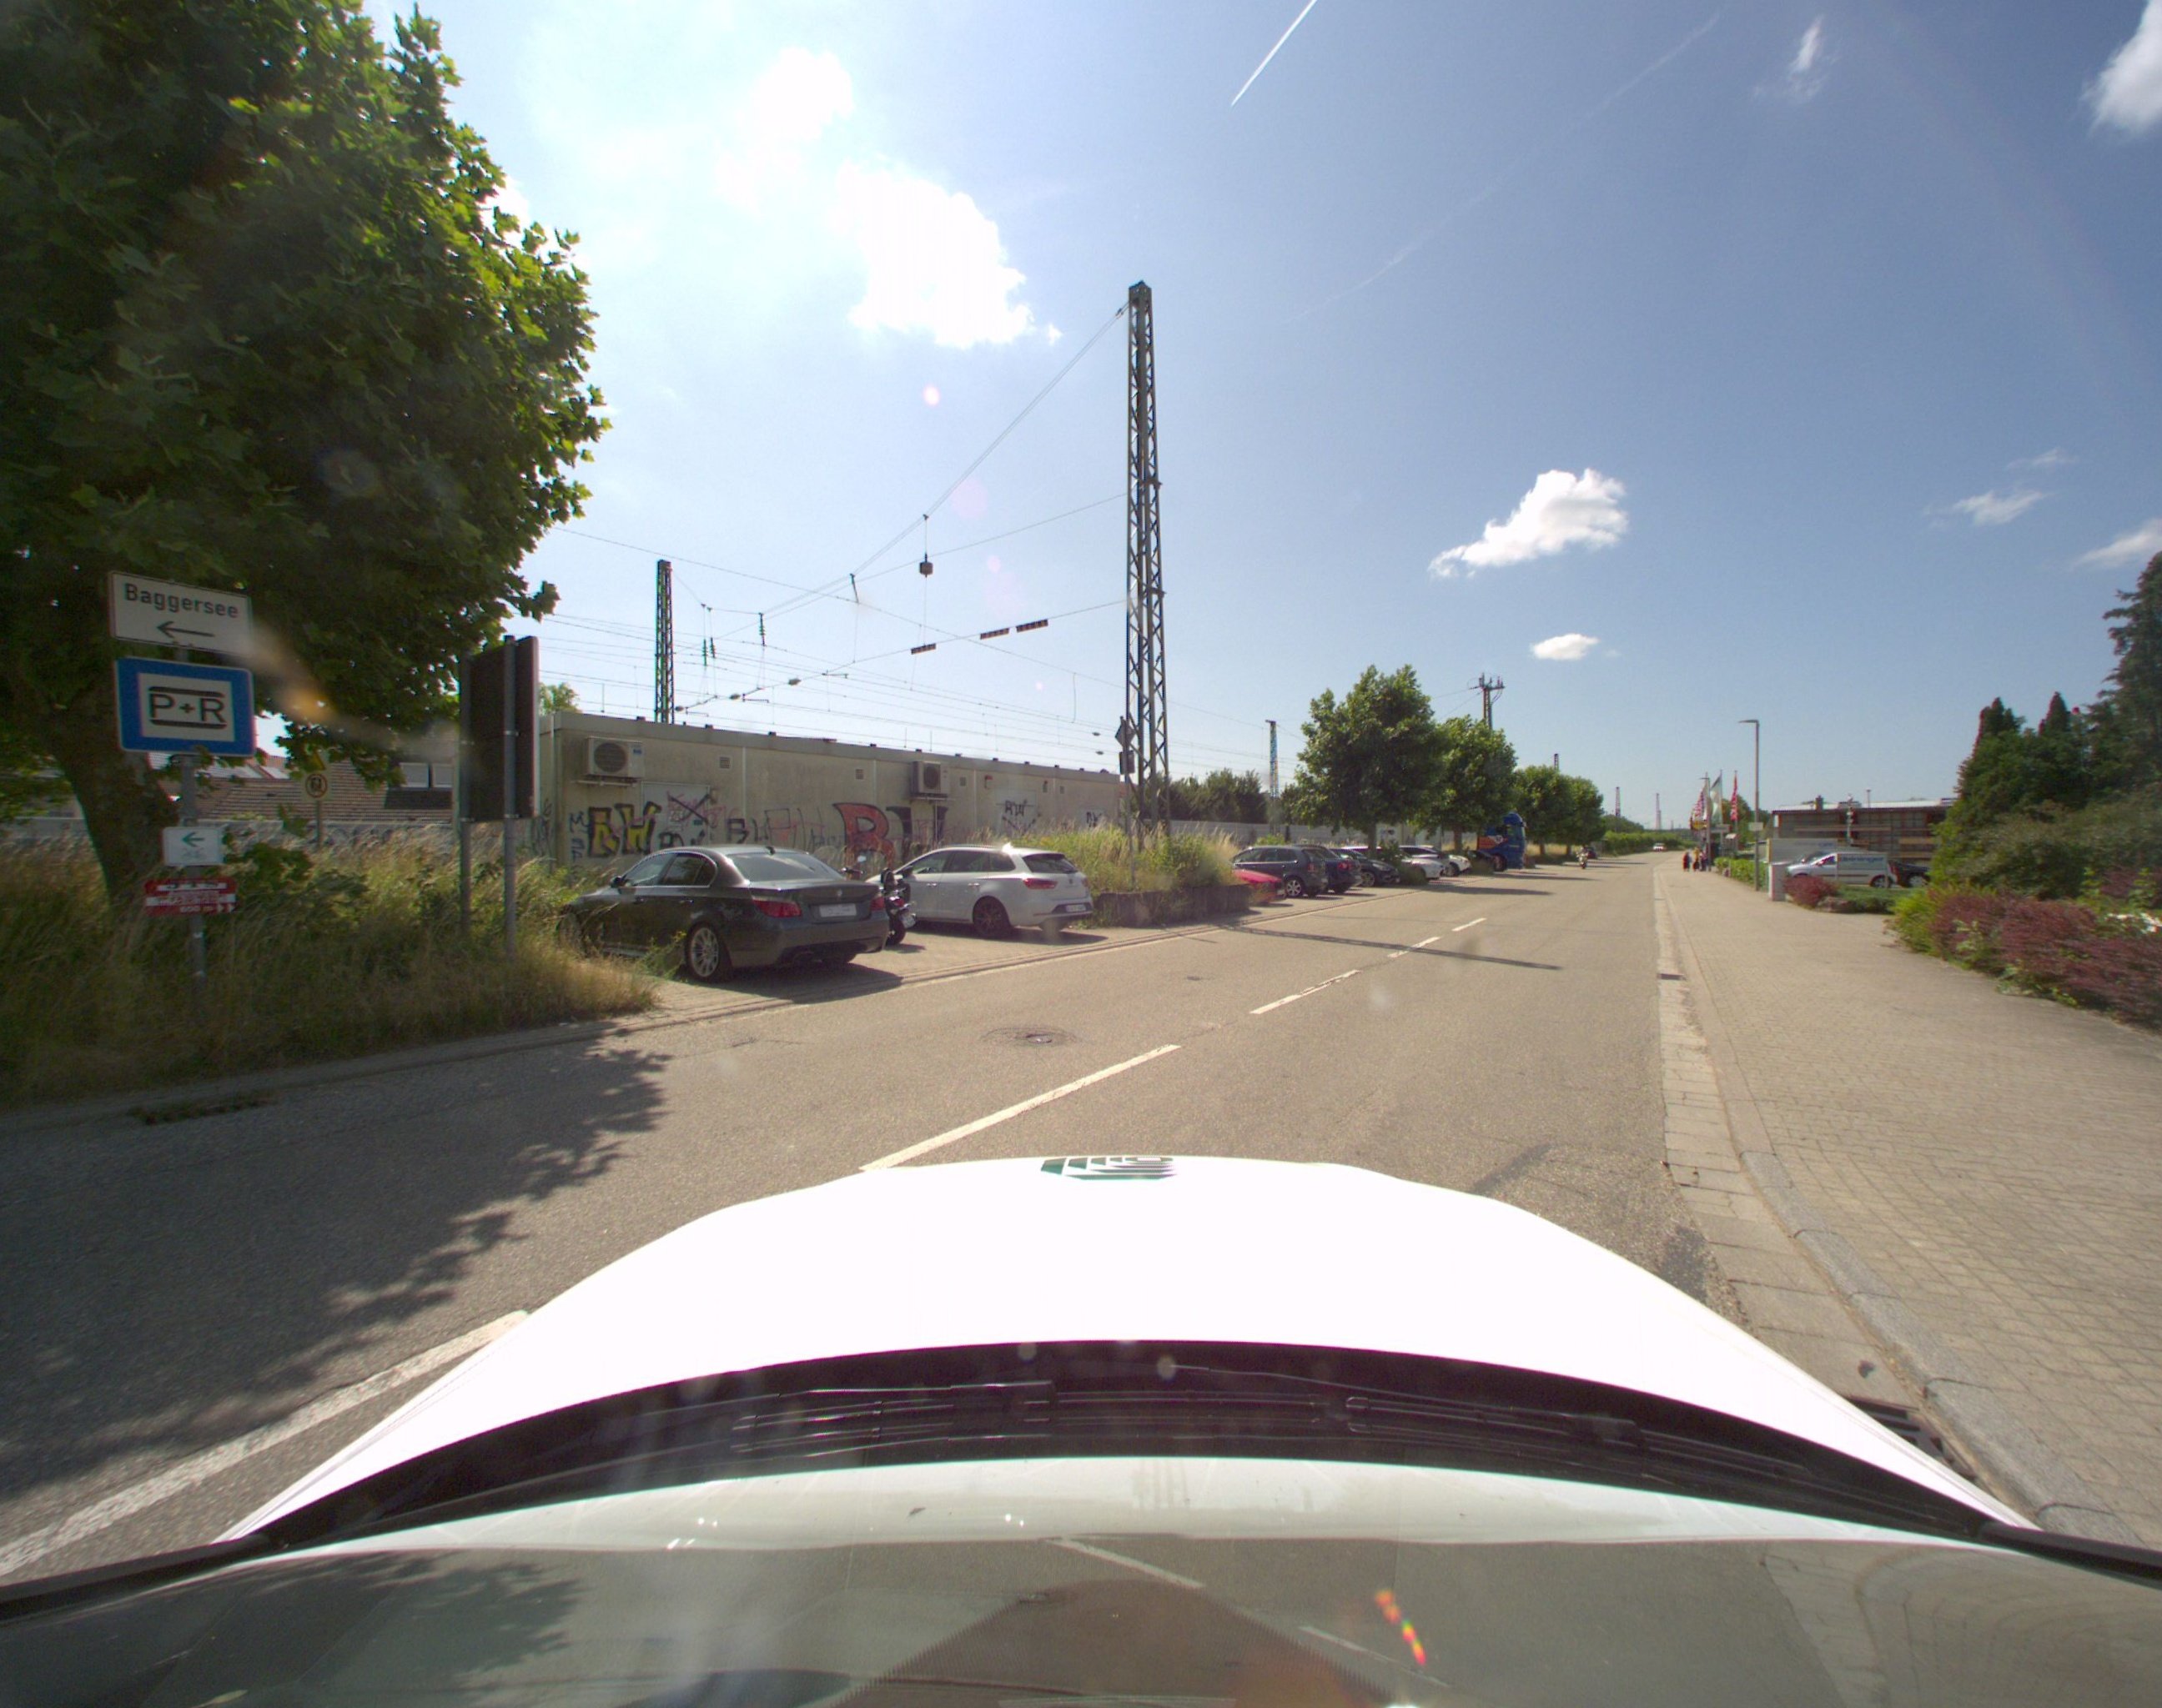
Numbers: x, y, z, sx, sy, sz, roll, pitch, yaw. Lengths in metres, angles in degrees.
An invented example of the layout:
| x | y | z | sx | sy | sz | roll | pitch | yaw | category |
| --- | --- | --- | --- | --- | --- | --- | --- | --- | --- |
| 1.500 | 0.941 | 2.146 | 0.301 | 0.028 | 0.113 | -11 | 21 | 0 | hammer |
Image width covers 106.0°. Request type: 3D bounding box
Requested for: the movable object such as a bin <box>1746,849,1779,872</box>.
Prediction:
| x | y | z | sx | sy | sz | roll | pitch | yaw | category |
| --- | --- | --- | --- | --- | --- | --- | --- | --- | --- |
| 44.833 | 0.397 | 53.578 | 1.260 | 1.458 | 1.048 | 1 | 1 | -2 | movable object such as a bin |

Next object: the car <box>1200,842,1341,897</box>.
| x | y | z | sx | sy | sz | roll | pitch | yaw | category |
| --- | --- | --- | --- | --- | --- | --- | --- | --- | --- |
| 5.554 | 0.393 | 23.976 | 3.630 | 1.447 | 1.695 | 2 | 2 | 34 | car |

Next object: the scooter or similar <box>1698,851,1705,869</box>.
| x | y | z | sx | sy | sz | roll | pitch | yaw | category |
| --- | --- | --- | --- | --- | --- | --- | --- | --- | --- |
| 42.613 | 0.429 | 55.953 | 0.330 | 1.198 | 0.400 | -1 | -2 | 36 | scooter or similar |

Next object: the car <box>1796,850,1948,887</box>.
| x | y | z | sx | sy | sz | roll | pitch | yaw | category |
| --- | --- | --- | --- | --- | --- | --- | --- | --- | --- |
| 33.887 | 0.581 | 35.080 | 4.431 | 1.440 | 1.826 | 1 | 1 | 33 | car |

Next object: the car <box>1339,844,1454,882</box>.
| x | y | z | sx | sy | sz | roll | pitch | yaw | category |
| --- | --- | --- | --- | --- | --- | --- | --- | --- | --- |
| 13.610 | 0.338 | 35.202 | 4.296 | 1.533 | 1.938 | 1 | 1 | 35 | car |

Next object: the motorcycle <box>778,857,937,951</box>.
| x | y | z | sx | sy | sz | roll | pitch | yaw | category |
| --- | --- | --- | --- | --- | --- | --- | --- | --- | --- |
| -3.371 | 0.689 | 12.125 | 2.697 | 1.281 | 0.722 | -1 | 0 | 35 | motorcycle |

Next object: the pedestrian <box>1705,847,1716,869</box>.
| x | y | z | sx | sy | sz | roll | pitch | yaw | category |
| --- | --- | --- | --- | --- | --- | --- | --- | --- | --- |
| 42.972 | 0.276 | 55.584 | 0.529 | 1.540 | 0.514 | -1 | -2 | 35 | pedestrian |

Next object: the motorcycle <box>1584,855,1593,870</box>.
| x | y | z | sx | sy | sz | roll | pitch | yaw | category |
| --- | --- | --- | --- | --- | --- | --- | --- | --- | --- |
| 38.635 | 0.637 | 62.001 | 0.459 | 1.051 | 1.968 | 0 | 0 | 34 | motorcycle |

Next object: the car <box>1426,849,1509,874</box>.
| x | y | z | sx | sy | sz | roll | pitch | yaw | category |
| --- | --- | --- | --- | --- | --- | --- | --- | --- | --- |
| 22.881 | 0.393 | 48.237 | 4.168 | 1.395 | 1.884 | 1 | 1 | 34 | car |

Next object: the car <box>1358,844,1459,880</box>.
| x | y | z | sx | sy | sz | roll | pitch | yaw | category |
| --- | --- | --- | --- | --- | --- | --- | --- | --- | --- |
| 15.057 | 0.329 | 37.474 | 3.948 | 1.547 | 2.013 | 0 | 0 | 34 | car |

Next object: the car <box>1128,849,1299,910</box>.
| x | y | z | sx | sy | sz | roll | pitch | yaw | category |
| --- | --- | --- | --- | --- | --- | --- | --- | --- | --- |
| 3.385 | 0.599 | 21.118 | 4.034 | 1.368 | 1.685 | 1 | 2 | 36 | car |

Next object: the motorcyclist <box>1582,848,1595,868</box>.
| x | y | z | sx | sy | sz | roll | pitch | yaw | category |
| --- | --- | --- | --- | --- | --- | --- | --- | --- | --- |
| 38.743 | 0.298 | 62.151 | 0.768 | 1.509 | 0.927 | 0 | 0 | 34 | motorcyclist |

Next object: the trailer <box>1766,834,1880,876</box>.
| x | y | z | sx | sy | sz | roll | pitch | yaw | category |
| --- | --- | --- | --- | --- | --- | --- | --- | --- | --- |
| 37.037 | 0.061 | 40.803 | 3.948 | 2.014 | 2.013 | -2 | -1 | 36 | trailer |

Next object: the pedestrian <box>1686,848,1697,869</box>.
| x | y | z | sx | sy | sz | roll | pitch | yaw | category |
| --- | --- | --- | --- | --- | --- | --- | --- | --- | --- |
| 42.137 | 0.305 | 56.194 | 0.560 | 1.405 | 0.587 | -1 | -2 | 35 | pedestrian |

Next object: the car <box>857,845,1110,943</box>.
| x | y | z | sx | sy | sz | roll | pitch | yaw | category |
| --- | --- | --- | --- | --- | --- | --- | --- | --- | --- |
| -1.706 | 0.563 | 13.762 | 4.034 | 1.402 | 1.798 | 1 | 1 | 34 | car |

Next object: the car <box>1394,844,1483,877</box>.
| x | y | z | sx | sy | sz | roll | pitch | yaw | category |
| --- | --- | --- | --- | --- | --- | --- | --- | --- | --- |
| 18.263 | 0.288 | 41.622 | 3.932 | 1.618 | 1.863 | 0 | 1 | 32 | car |

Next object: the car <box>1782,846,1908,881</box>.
| x | y | z | sx | sy | sz | roll | pitch | yaw | category |
| --- | --- | --- | --- | --- | --- | --- | --- | --- | --- |
| 35.710 | 0.458 | 38.212 | 3.995 | 1.575 | 1.724 | -1 | -2 | 31 | car |

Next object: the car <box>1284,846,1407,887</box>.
| x | y | z | sx | sy | sz | roll | pitch | yaw | category |
| --- | --- | --- | --- | --- | --- | --- | --- | --- | --- |
| 9.930 | 0.454 | 30.728 | 4.033 | 1.472 | 1.798 | -1 | 0 | 36 | car |

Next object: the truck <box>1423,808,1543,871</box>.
| x | y | z | sx | sy | sz | roll | pitch | yaw | category |
| --- | --- | --- | --- | --- | --- | --- | --- | --- | --- |
| 25.677 | -0.849 | 52.090 | 6.549 | 3.823 | 2.681 | -1 | 0 | 34 | truck |

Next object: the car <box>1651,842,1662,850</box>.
| x | y | z | sx | sy | sz | roll | pitch | yaw | category |
| --- | --- | --- | --- | --- | --- | --- | --- | --- | --- |
| 126.365 | -1.768 | 178.727 | 1.820 | 1.858 | 4.512 | 0 | 1 | 36 | car |

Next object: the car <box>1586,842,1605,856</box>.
| x | y | z | sx | sy | sz | roll | pitch | yaw | category |
| --- | --- | --- | --- | --- | --- | --- | --- | --- | --- |
| 62.274 | -0.604 | 98.500 | 1.725 | 1.596 | 3.602 | 1 | 1 | 36 | car |

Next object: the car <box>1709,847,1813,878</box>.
| x | y | z | sx | sy | sz | roll | pitch | yaw | category |
| --- | --- | --- | --- | --- | --- | --- | --- | --- | --- |
| 37.158 | 0.515 | 44.637 | 4.171 | 1.634 | 1.812 | -1 | -2 | 35 | car |

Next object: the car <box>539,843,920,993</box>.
| x | y | z | sx | sy | sz | roll | pitch | yaw | category |
| --- | --- | --- | --- | --- | --- | --- | --- | --- | --- |
| -4.169 | 0.613 | 9.487 | 4.384 | 1.410 | 1.799 | -1 | 0 | 30 | car |

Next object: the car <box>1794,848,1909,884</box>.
| x | y | z | sx | sy | sz | roll | pitch | yaw | category |
| --- | --- | --- | --- | --- | --- | --- | --- | --- | --- |
| 31.720 | 0.480 | 33.668 | 3.320 | 1.401 | 1.781 | -1 | 0 | 40 | car |

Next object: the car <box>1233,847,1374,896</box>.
| x | y | z | sx | sy | sz | roll | pitch | yaw | category |
| --- | --- | --- | --- | --- | --- | --- | --- | --- | --- |
| 7.005 | 0.514 | 25.833 | 3.907 | 1.450 | 1.798 | 0 | 0 | 40 | car |
